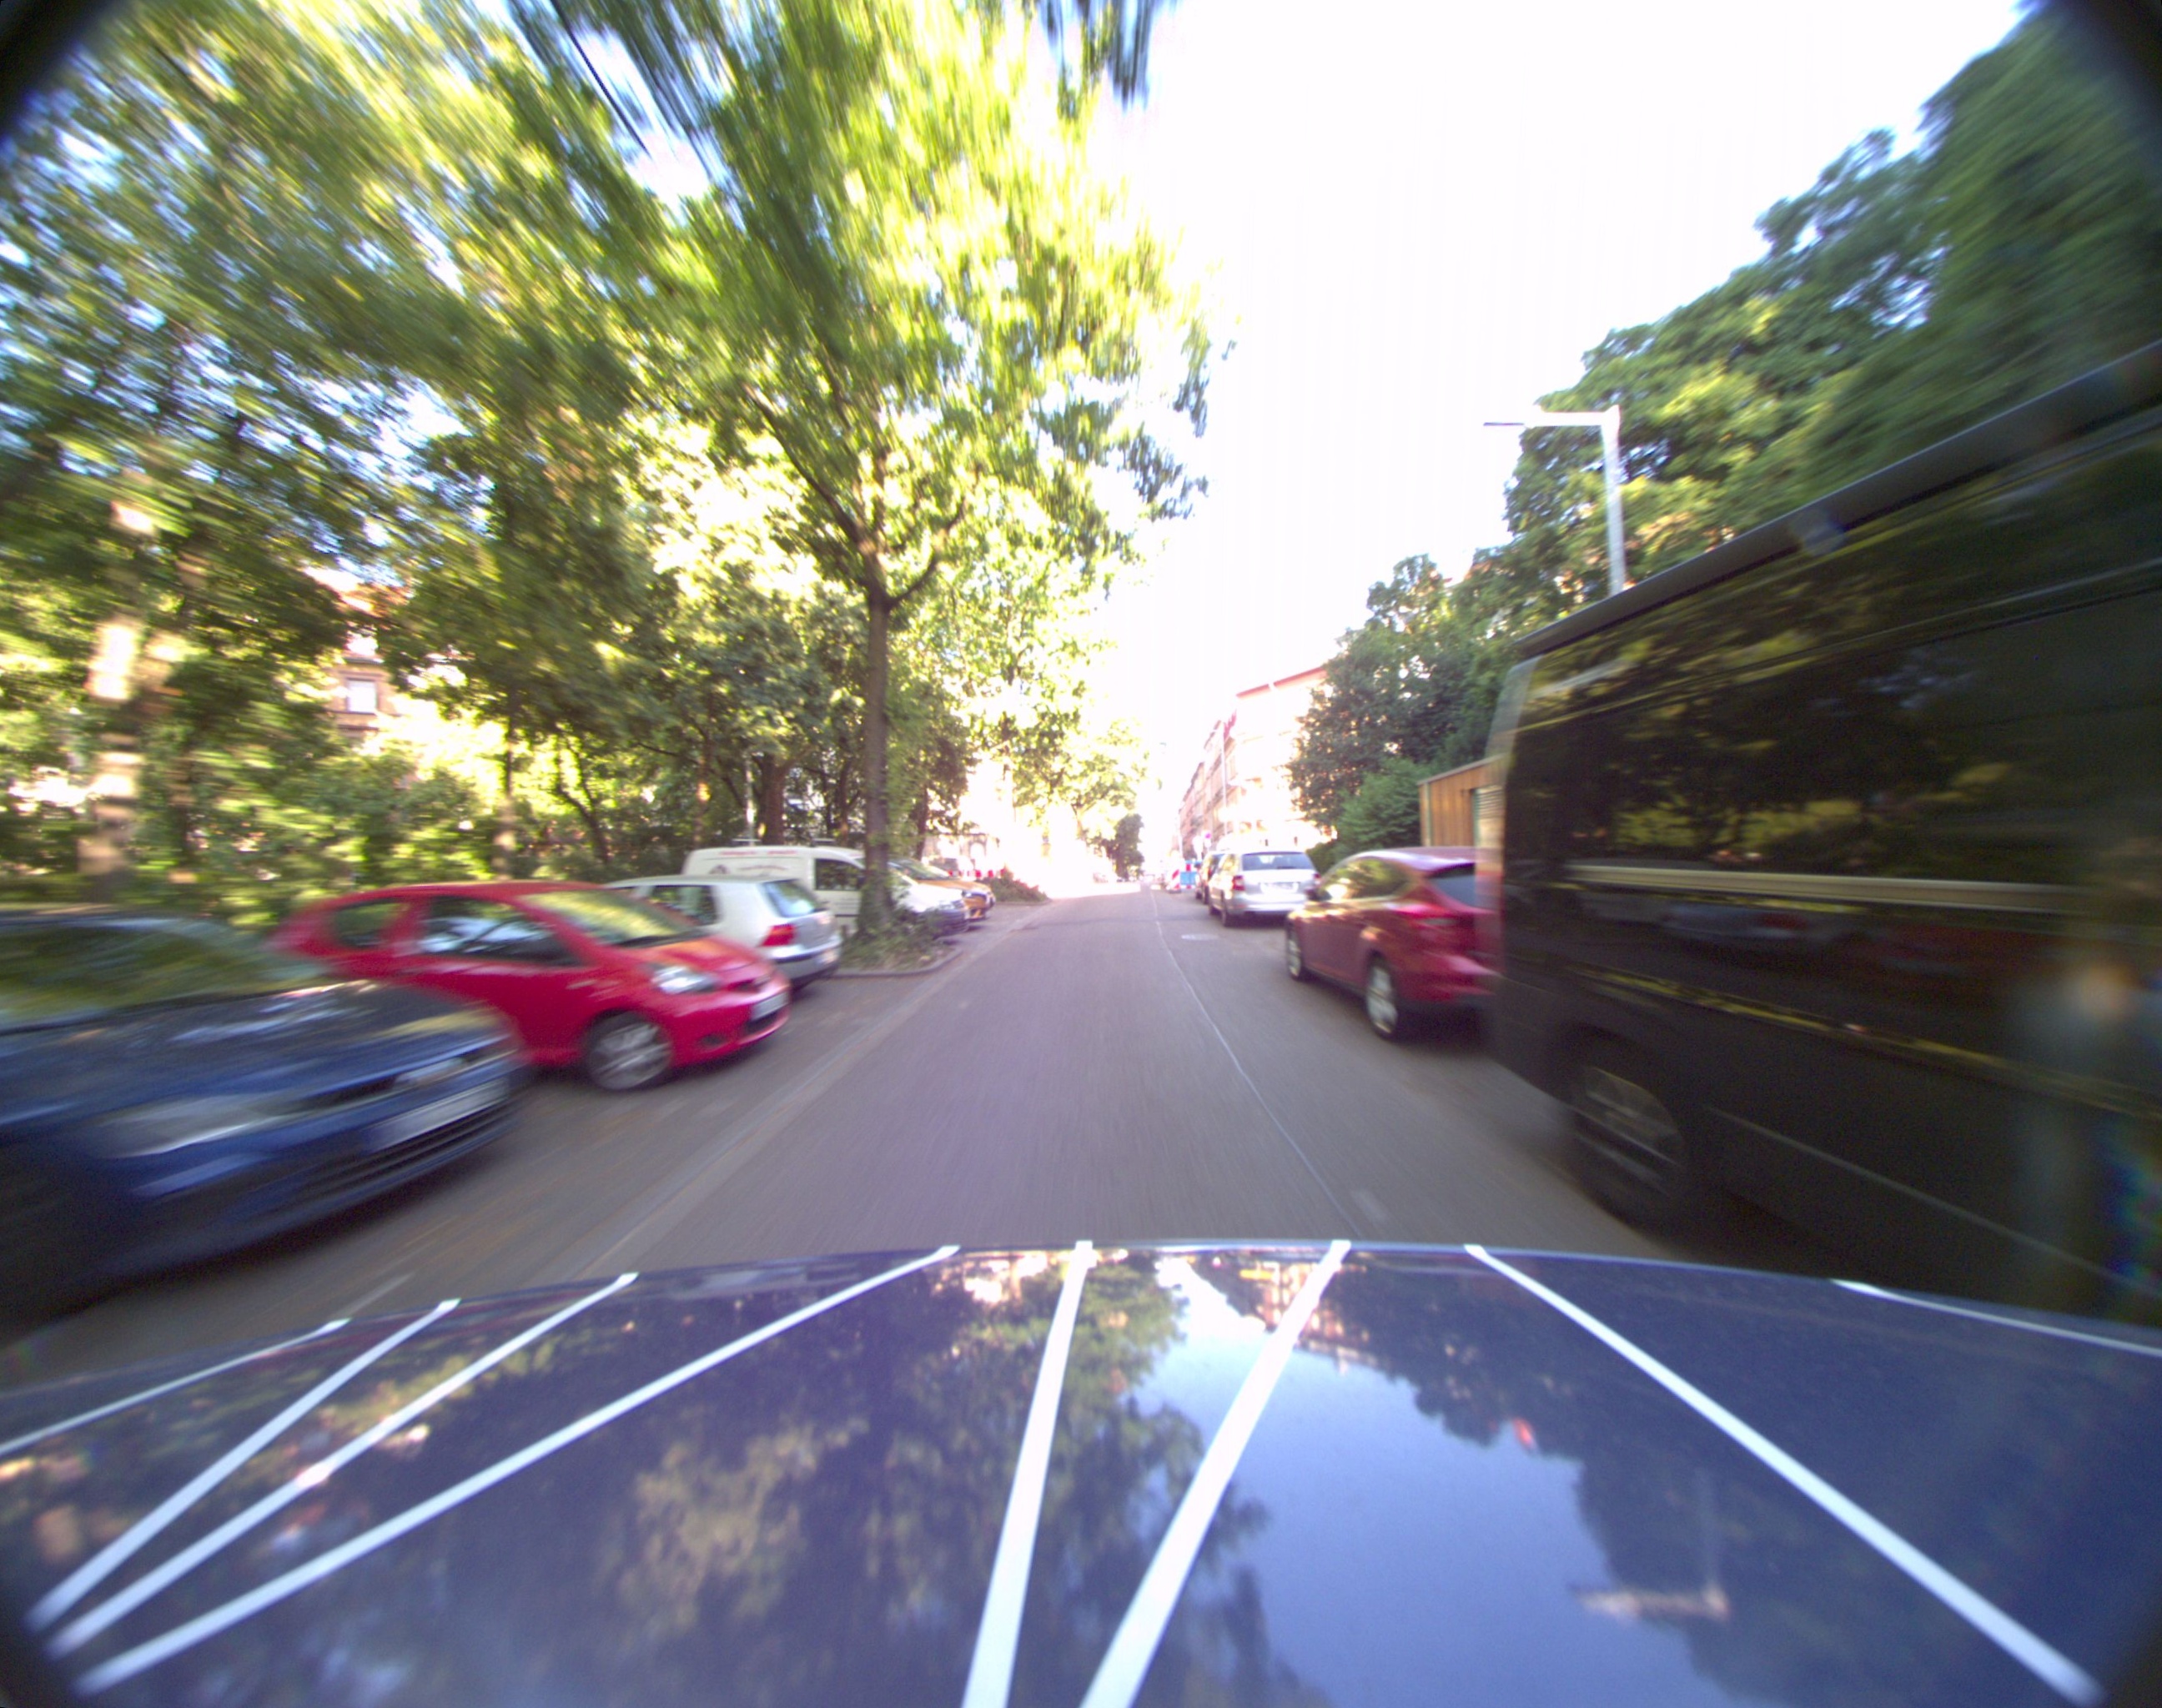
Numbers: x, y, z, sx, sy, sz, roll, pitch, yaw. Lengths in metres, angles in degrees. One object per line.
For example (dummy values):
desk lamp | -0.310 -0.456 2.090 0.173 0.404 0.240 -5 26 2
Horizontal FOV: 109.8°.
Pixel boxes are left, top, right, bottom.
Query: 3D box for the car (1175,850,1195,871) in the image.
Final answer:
car | 10.491 0.636 76.846 1.703 2.104 4.195 -1 1 5

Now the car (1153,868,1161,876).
car | 17.669 4.274 177.119 1.703 1.740 4.195 -1 1 5

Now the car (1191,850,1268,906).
car | 4.101 0.610 21.588 1.703 1.391 4.195 -1 1 5

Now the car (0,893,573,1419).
car | -4.753 1.112 3.267 3.996 1.565 1.587 -3 1 2

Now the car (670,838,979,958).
car | -4.251 0.707 13.136 4.682 1.914 1.872 0 1 2

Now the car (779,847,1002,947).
car | -3.841 0.853 15.712 3.995 1.747 1.799 -3 1 7

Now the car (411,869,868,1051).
car | -4.627 1.083 8.298 3.995 1.565 1.666 -3 1 6

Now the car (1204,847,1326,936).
car | 3.500 0.628 15.219 1.703 1.489 4.551 -1 1 5

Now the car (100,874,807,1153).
car | -4.412 1.081 5.767 3.996 1.565 1.587 -3 1 2

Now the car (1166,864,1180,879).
car | 12.223 2.327 101.371 1.703 1.740 4.195 -1 1 5

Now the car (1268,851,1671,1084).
car | 3.086 0.746 7.126 1.703 1.498 4.228 -1 1 1

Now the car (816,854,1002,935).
car | -4.036 0.921 18.362 3.997 1.618 1.798 -3 1 0

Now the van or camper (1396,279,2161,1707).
van or camper | 2.916 0.269 0.994 2.241 2.508 6.421 -3 0 0
